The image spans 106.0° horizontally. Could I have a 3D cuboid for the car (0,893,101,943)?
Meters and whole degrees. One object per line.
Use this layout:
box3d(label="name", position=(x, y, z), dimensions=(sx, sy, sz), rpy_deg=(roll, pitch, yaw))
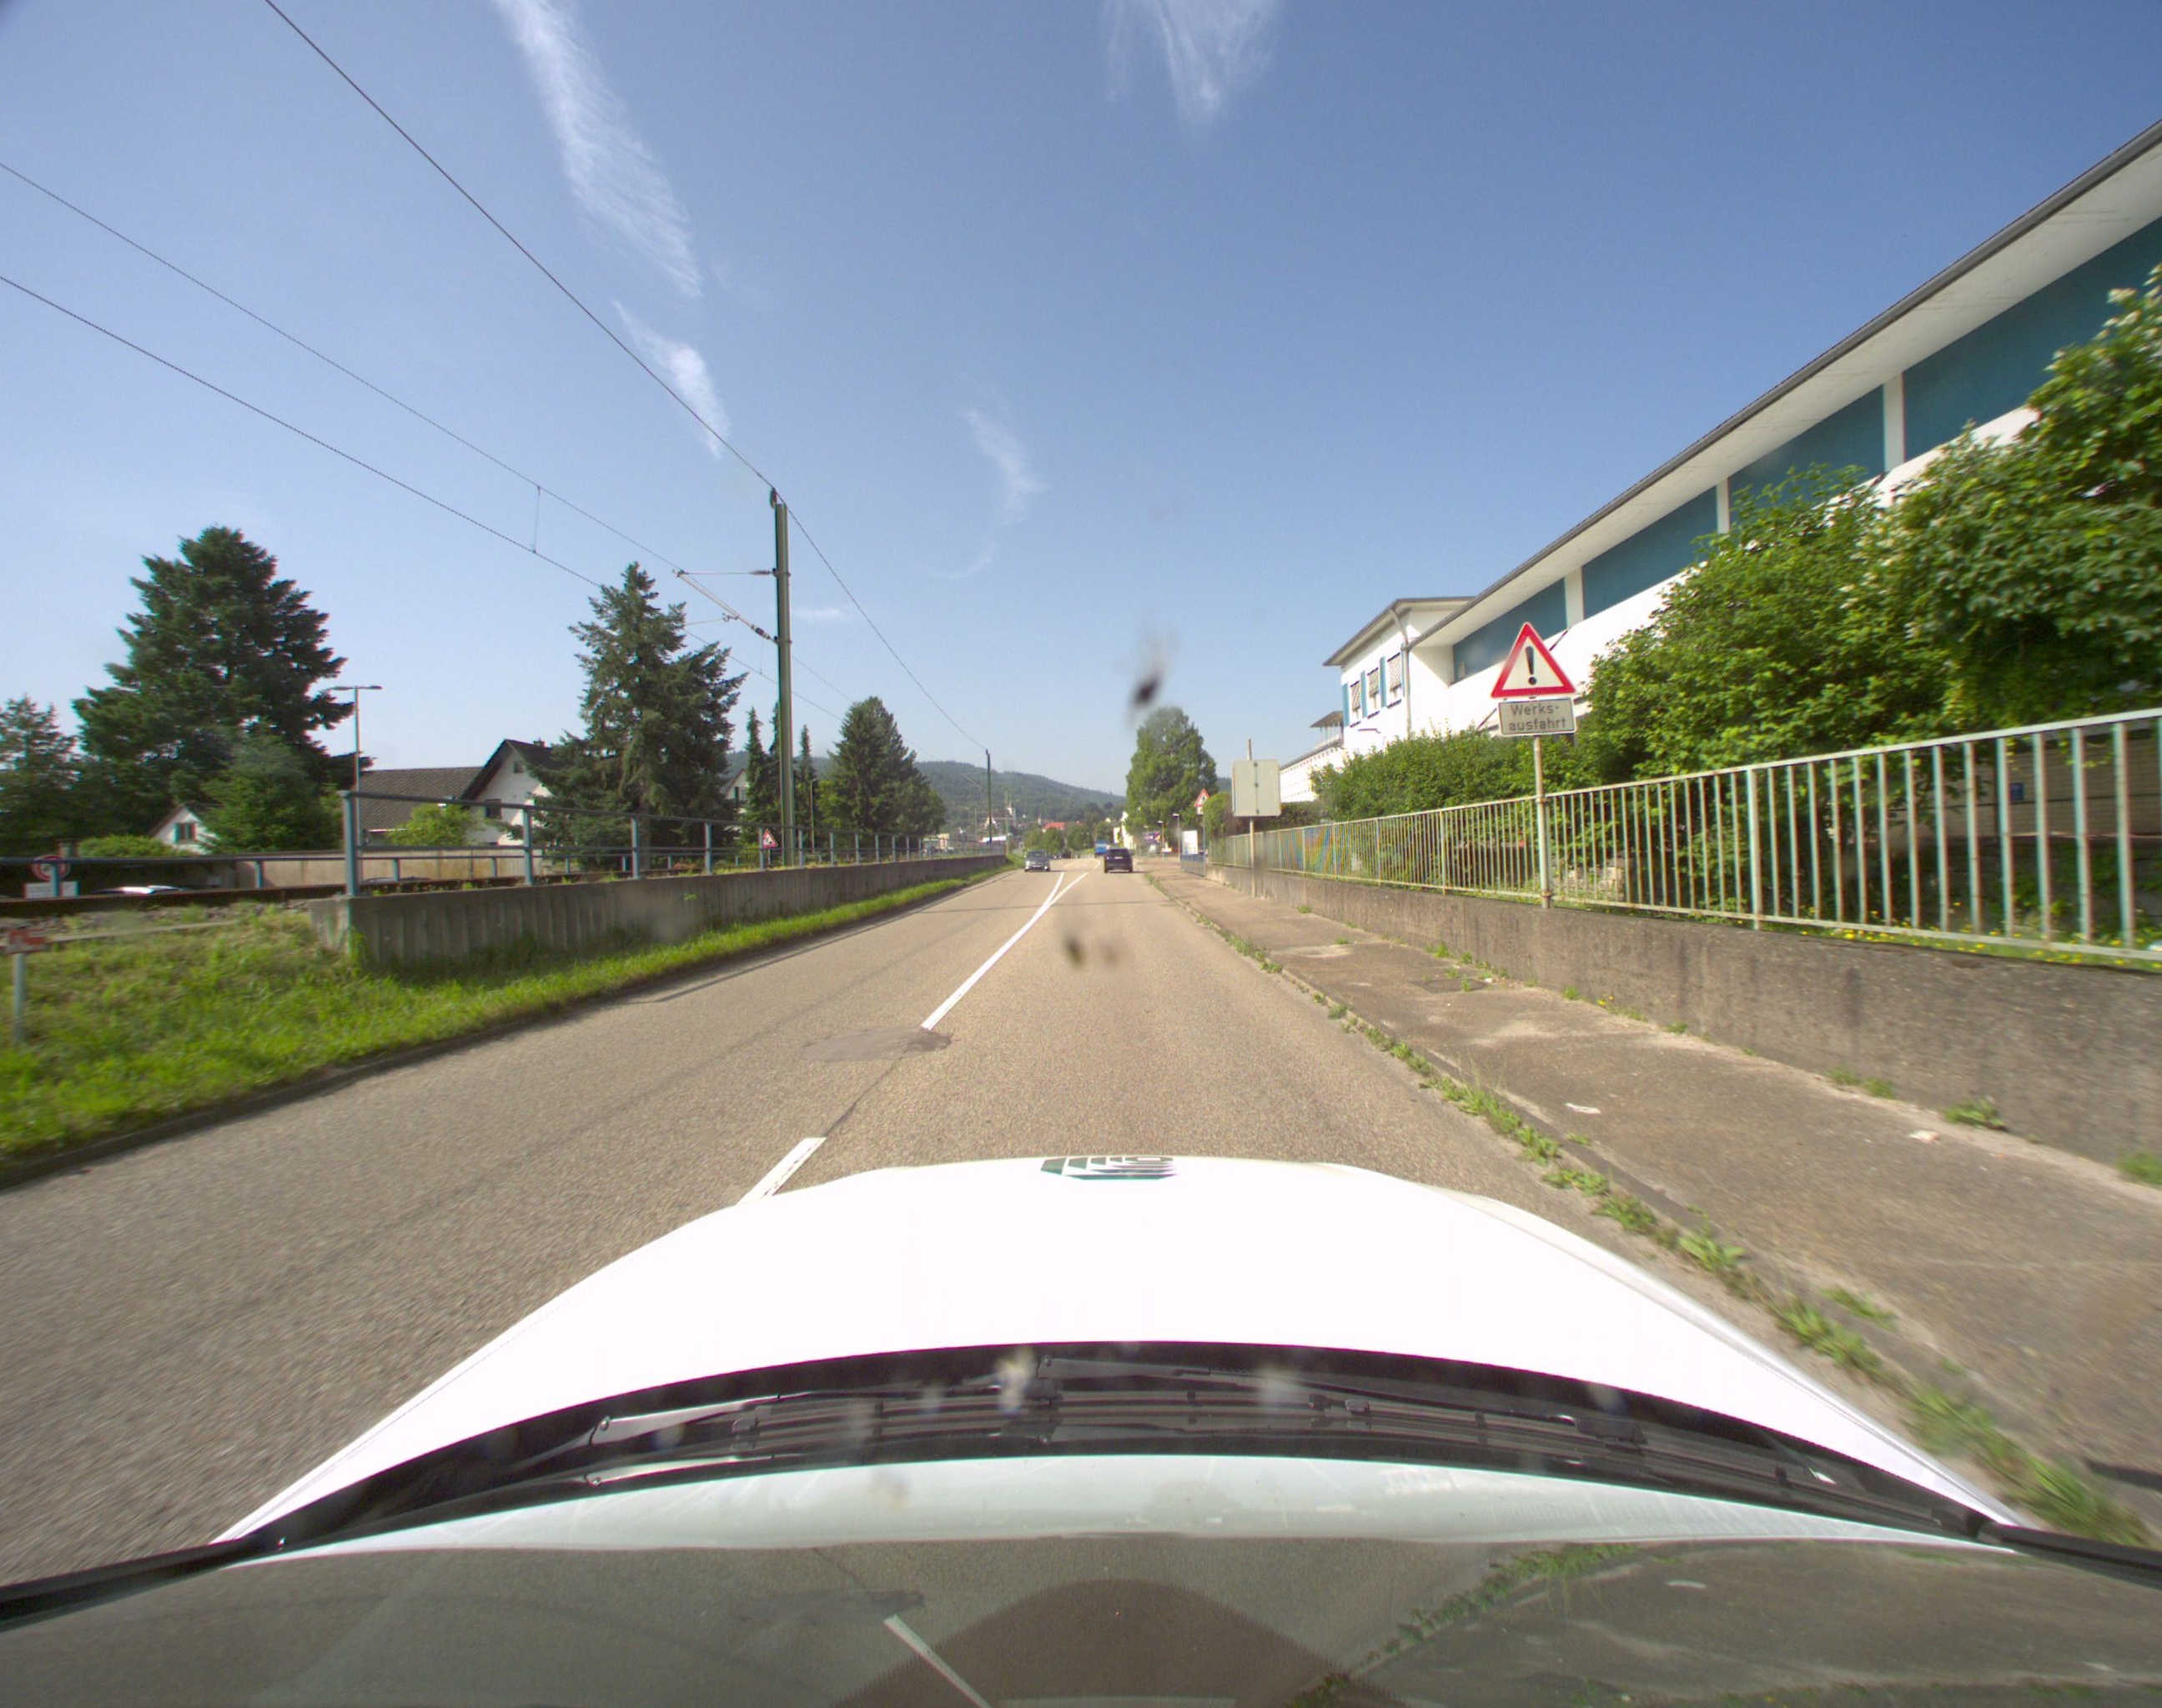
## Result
box3d(label="car", position=(-39.460, 2.373, 30.068), dimensions=(3.984, 1.665, 1.813), rpy_deg=(-1, 0, -8))

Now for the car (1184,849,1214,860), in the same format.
box3d(label="car", position=(16.524, 0.029, 114.160), dimensions=(4.012, 1.401, 1.648), rpy_deg=(-2, 0, -30))

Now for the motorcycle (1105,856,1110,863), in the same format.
box3d(label="motorcycle", position=(3.189, 0.639, 97.183), dimensions=(0.604, 0.753, 1.415), rpy_deg=(-2, 0, 1))

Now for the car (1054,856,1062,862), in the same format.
box3d(label="car", position=(-5.494, 1.192, 193.272), dimensions=(1.750, 1.429, 3.998), rpy_deg=(-2, 0, -1))

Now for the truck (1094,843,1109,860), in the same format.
box3d(label="truck", position=(3.664, -0.517, 147.275), dimensions=(2.306, 2.970, 5.963), rpy_deg=(-2, 0, -1))

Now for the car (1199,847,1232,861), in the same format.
box3d(label="car", position=(18.353, 0.018, 110.956), dimensions=(4.184, 1.672, 1.853), rpy_deg=(-2, 0, -28))

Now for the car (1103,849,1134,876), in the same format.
box3d(label="car", position=(2.495, 0.523, 53.789), dimensions=(1.911, 1.640, 4.003), rpy_deg=(-2, 0, 3))

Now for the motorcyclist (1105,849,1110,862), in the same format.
box3d(label="motorcyclist", position=(3.164, 0.225, 97.199), dimensions=(0.604, 1.520, 0.863), rpy_deg=(-2, 0, 1))

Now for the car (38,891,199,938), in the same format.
box3d(label="car", position=(-39.006, 2.438, 33.111), dimensions=(3.984, 1.665, 1.813), rpy_deg=(-1, 0, -8))

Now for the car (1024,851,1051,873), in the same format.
box3d(label="car", position=(-3.109, 0.554, 58.775), dimensions=(1.736, 1.507, 4.199), rpy_deg=(-2, 0, 0))
